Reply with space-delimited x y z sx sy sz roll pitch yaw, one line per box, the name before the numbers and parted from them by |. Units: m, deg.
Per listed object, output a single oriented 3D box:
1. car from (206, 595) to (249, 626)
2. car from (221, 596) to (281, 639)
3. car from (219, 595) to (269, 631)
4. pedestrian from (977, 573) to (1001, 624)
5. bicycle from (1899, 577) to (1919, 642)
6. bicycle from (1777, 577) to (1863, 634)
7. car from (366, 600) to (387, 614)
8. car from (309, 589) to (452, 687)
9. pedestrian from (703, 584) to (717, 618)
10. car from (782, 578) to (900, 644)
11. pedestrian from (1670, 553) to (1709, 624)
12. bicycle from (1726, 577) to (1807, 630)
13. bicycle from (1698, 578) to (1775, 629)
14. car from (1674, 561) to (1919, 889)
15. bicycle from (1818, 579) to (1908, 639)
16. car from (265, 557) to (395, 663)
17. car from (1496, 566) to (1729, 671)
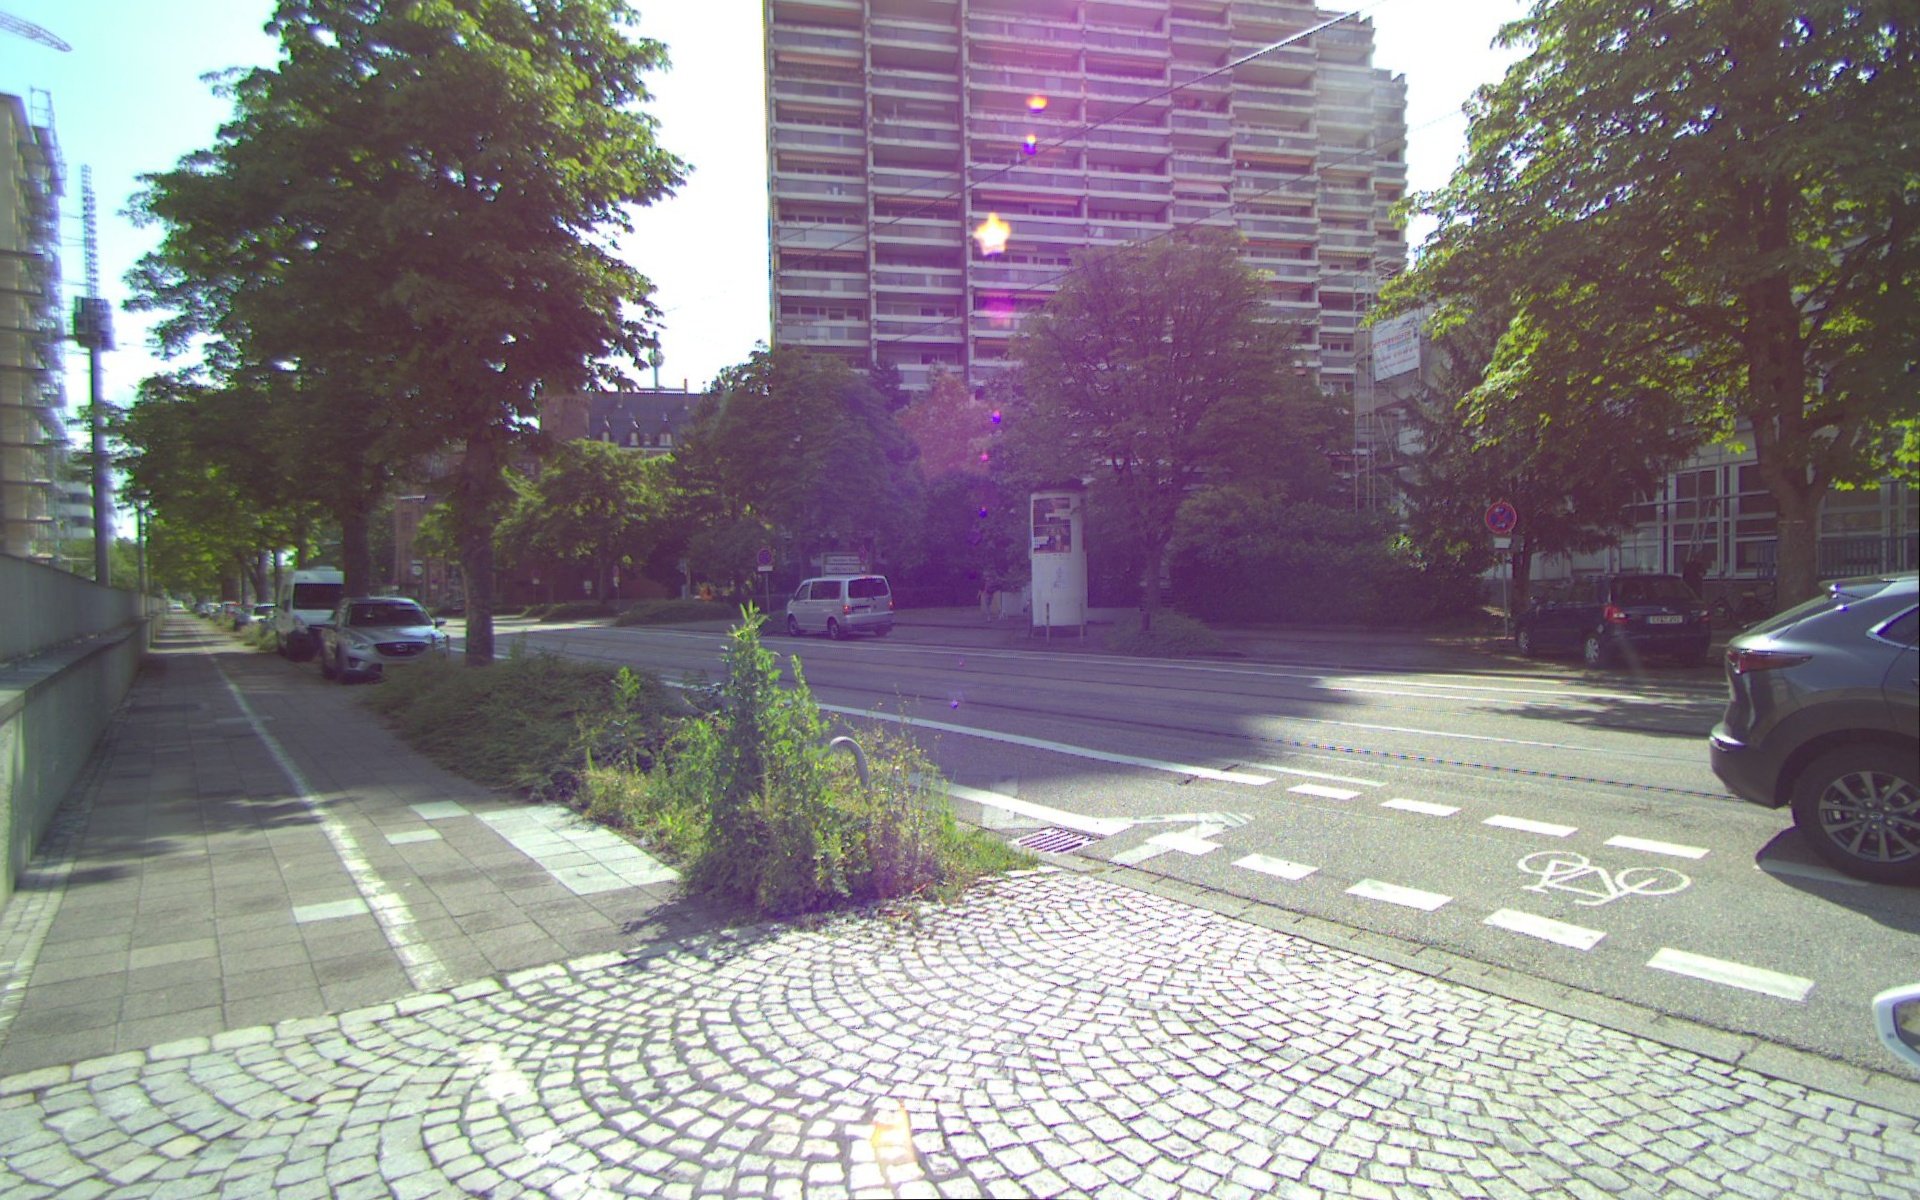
car | -43.474 0.583 59.600 1.736 1.628 4.188 -6 4 -39
car | -30.476 0.699 43.112 1.736 1.628 4.188 -6 4 -39
car | -36.713 0.643 51.444 1.736 1.628 4.188 -6 4 -39
pedestrian | 1.025 -0.059 35.716 0.520 1.778 0.628 -5 6 -38
bicycle | 18.313 0.156 18.620 1.554 1.177 0.540 -2 -1 -15
bicycle | 17.868 0.109 20.864 1.554 1.128 0.540 -2 -1 -15
car | -69.188 0.825 119.032 1.615 1.595 3.909 2 -1 -38
car | -11.612 0.667 20.013 1.736 1.628 4.188 -6 4 -39
pedestrian | -13.205 0.040 52.983 0.460 1.778 0.526 -5 6 -44
car | -3.901 0.299 32.483 1.875 1.876 4.192 -5 4 -36
pedestrian | 17.300 -0.278 23.817 0.653 1.646 0.638 1 3 44
bicycle | 17.793 0.085 22.168 1.554 1.107 0.540 -2 -1 -15
bicycle | 17.861 0.083 23.102 1.554 1.095 0.540 -2 -1 -15
car | 5.960 0.556 4.406 1.780 1.532 4.301 -3 2 -39
bicycle | 18.072 0.187 20.106 1.554 1.136 0.540 -2 -1 -15
car | -17.875 0.215 28.385 2.318 2.595 5.329 -6 4 -39
car | 10.884 0.245 17.107 1.707 1.544 3.887 -1 1 5
